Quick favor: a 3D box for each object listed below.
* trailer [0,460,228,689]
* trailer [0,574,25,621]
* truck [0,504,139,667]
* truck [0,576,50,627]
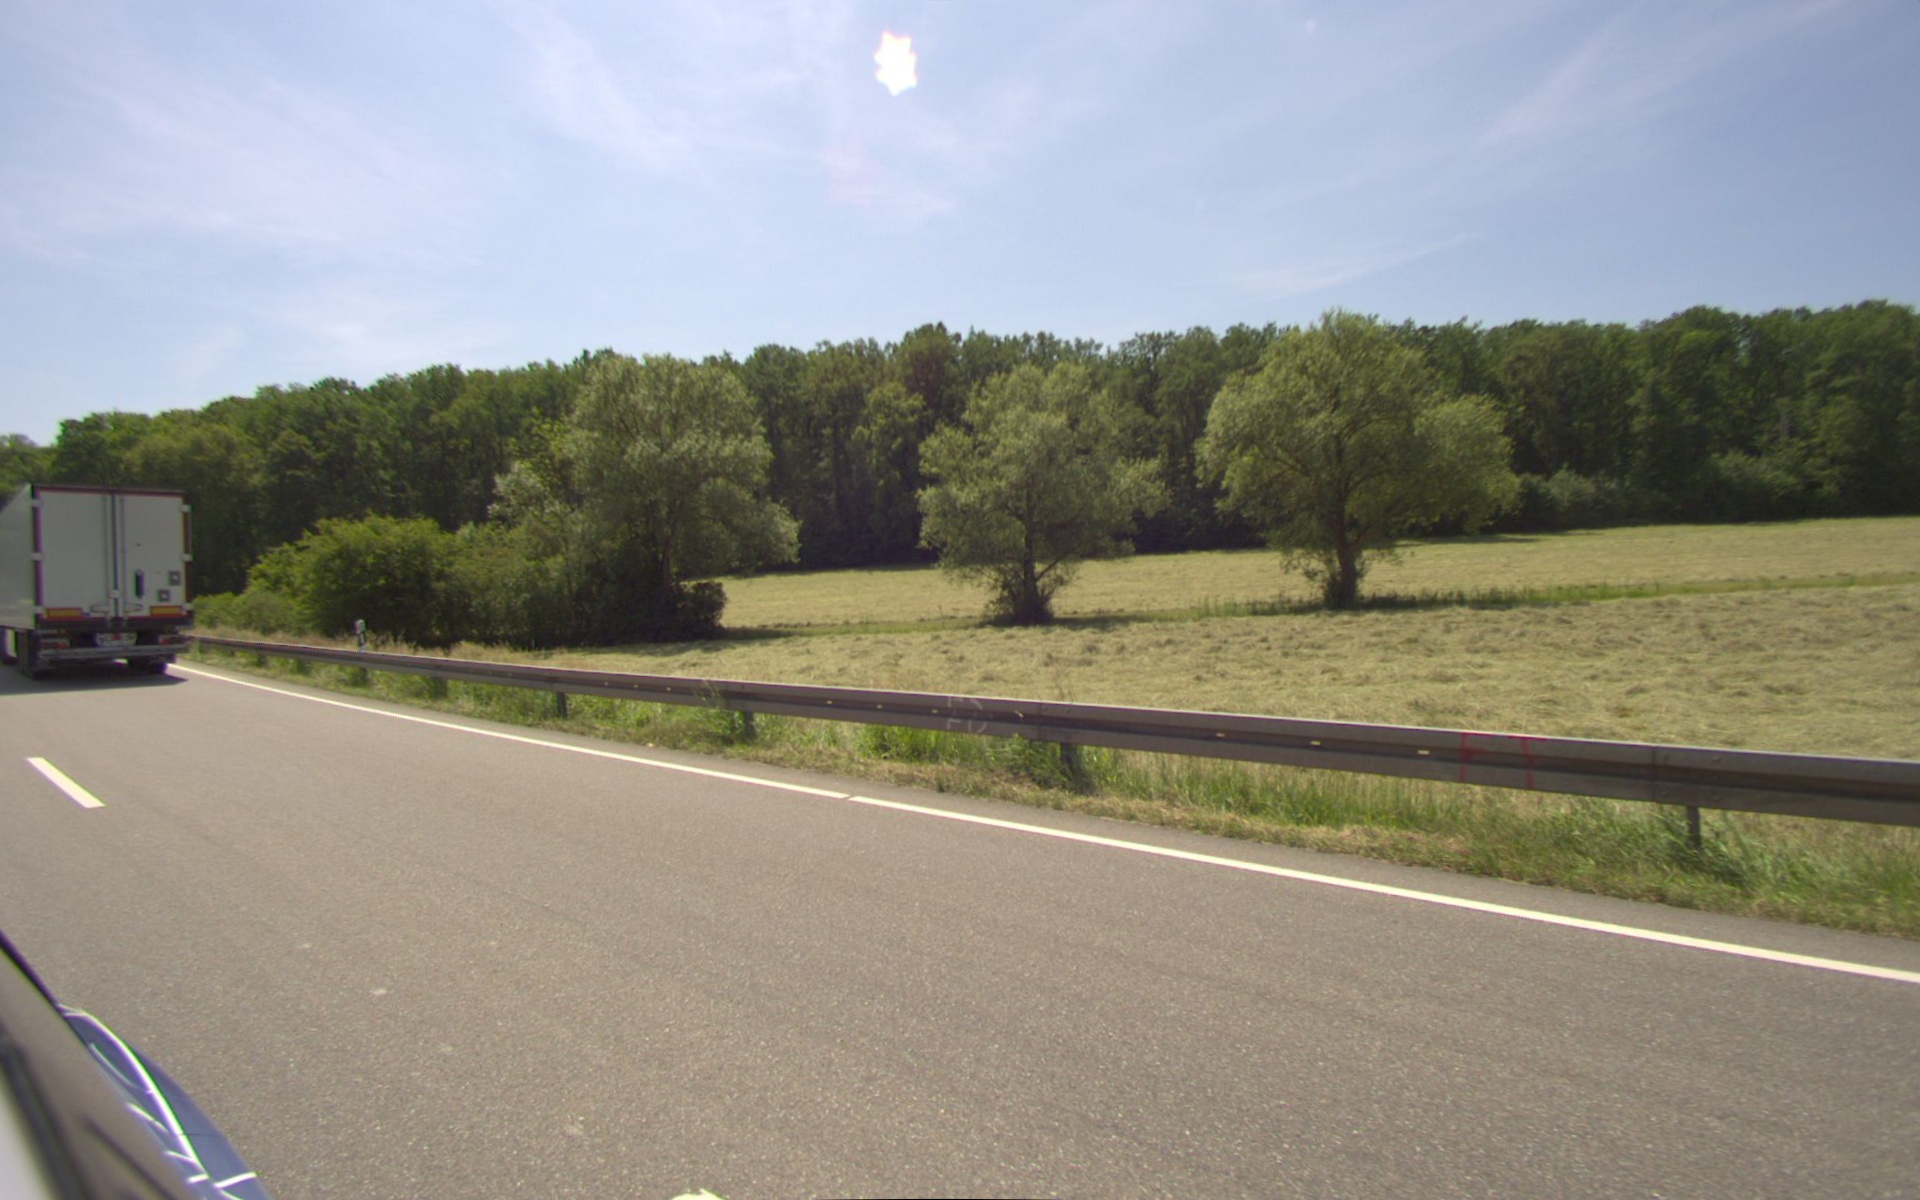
[{"bbox_3d":[-22.050,-0.406,25.484,13.746,4.434,3.336,-1,-1,43],"label":"trailer"},{"bbox_3d":[-98.501,-0.163,104.464,2.671,4.552,14.271,-3,2,-43],"label":"trailer"},{"bbox_3d":[-27.251,-0.378,30.368,5.446,4.434,3.337,-1,0,43],"label":"truck"},{"bbox_3d":[-72.248,0.096,78.210,2.670,3.677,10.113,-3,2,-42],"label":"truck"}]
